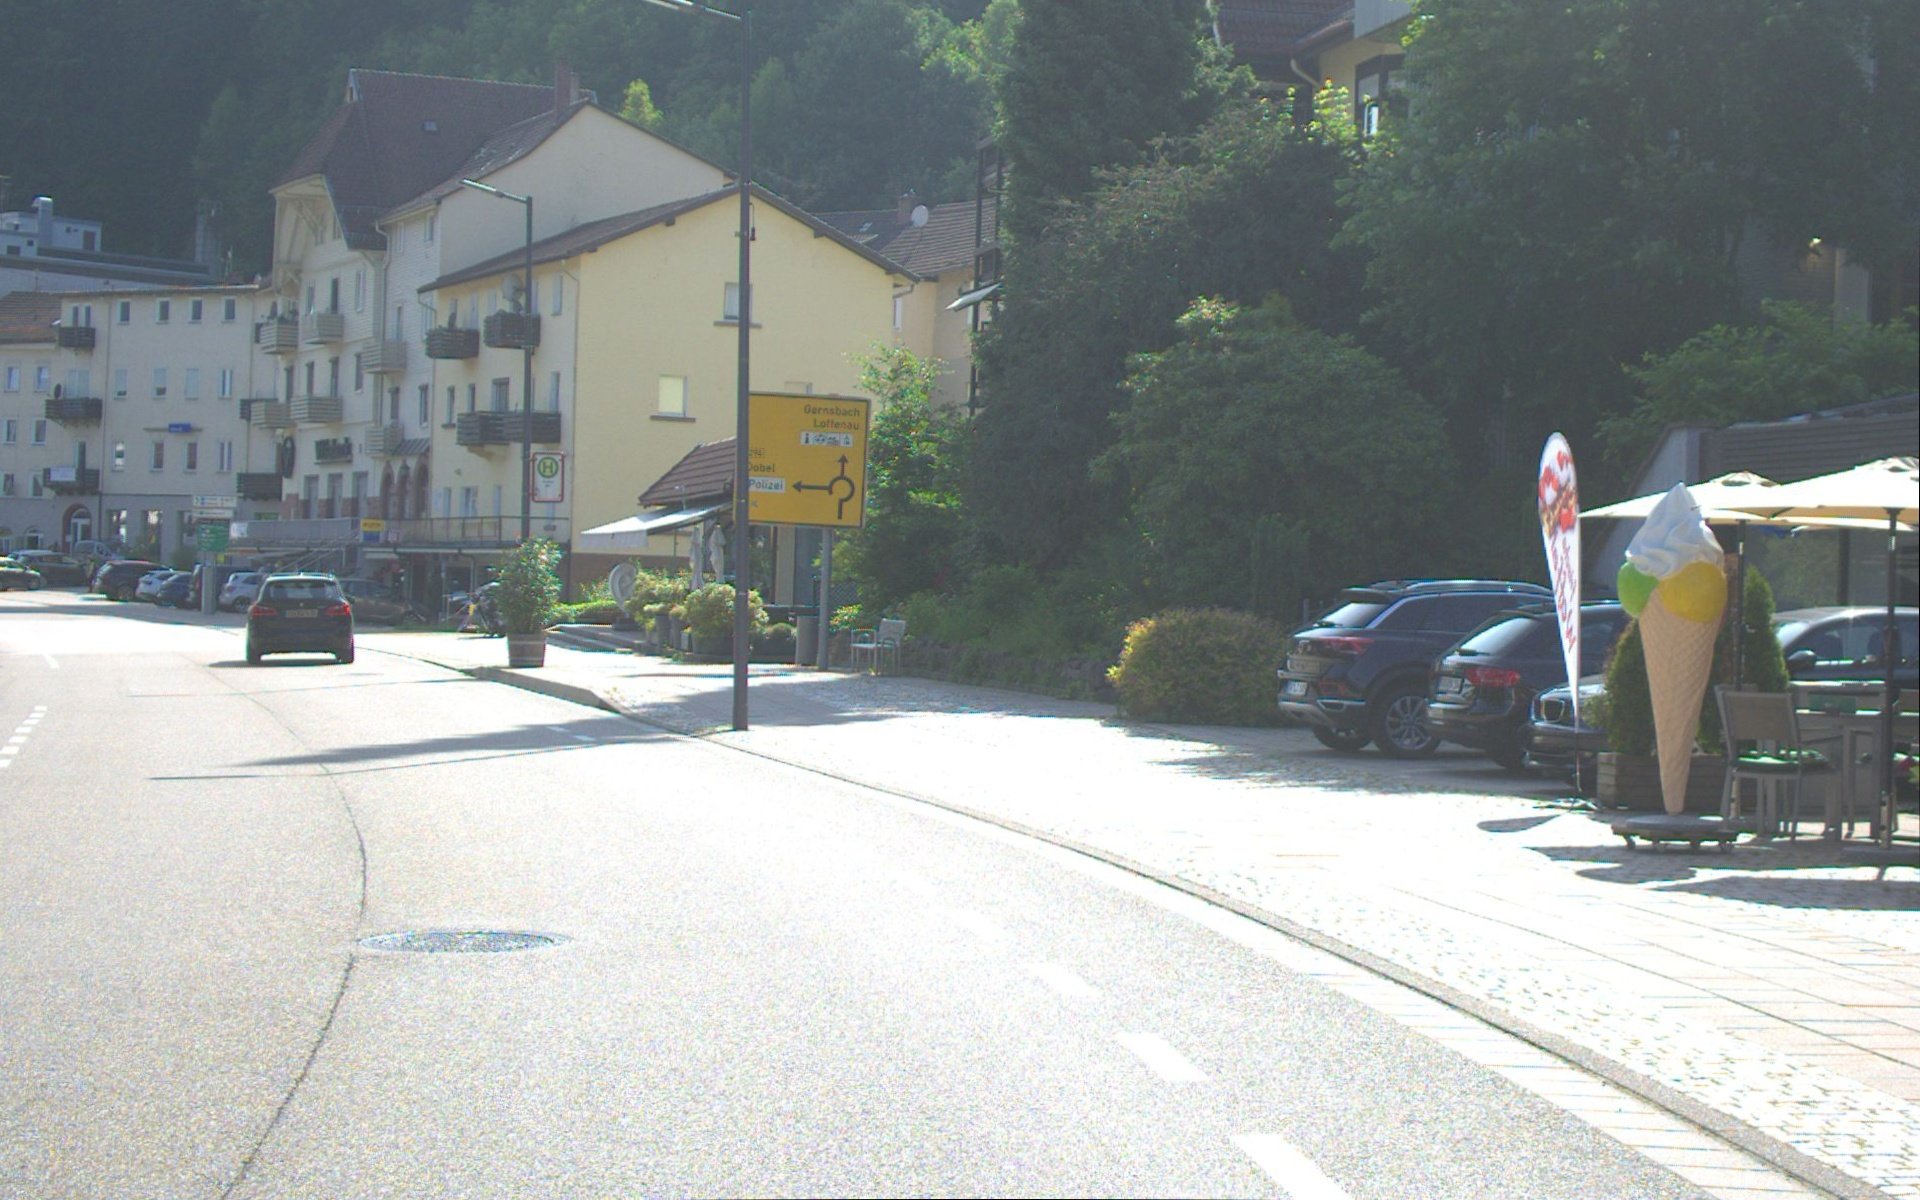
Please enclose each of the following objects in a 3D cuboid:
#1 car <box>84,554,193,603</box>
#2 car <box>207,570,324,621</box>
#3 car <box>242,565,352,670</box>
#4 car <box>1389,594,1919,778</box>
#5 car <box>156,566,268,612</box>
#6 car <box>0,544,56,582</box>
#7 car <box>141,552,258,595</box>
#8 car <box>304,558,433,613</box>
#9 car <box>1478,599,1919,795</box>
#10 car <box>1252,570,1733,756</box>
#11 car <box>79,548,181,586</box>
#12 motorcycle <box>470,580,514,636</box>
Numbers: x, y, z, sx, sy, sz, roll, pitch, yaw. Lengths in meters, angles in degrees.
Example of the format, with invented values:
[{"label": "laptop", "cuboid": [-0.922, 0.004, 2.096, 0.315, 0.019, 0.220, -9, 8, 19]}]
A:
[{"label": "car", "cuboid": [-34.340, -0.912, 143.764, 4.083, 1.660, 1.773, 5, -1, -22]}, {"label": "car", "cuboid": [-26.074, -0.185, 129.030, 3.908, 1.584, 1.775, 5, 0, -23]}, {"label": "car", "cuboid": [-11.513, 0.275, 59.633, 1.727, 1.569, 3.754, 3, 1, -12]}, {"label": "car", "cuboid": [5.780, 0.694, 28.225, 4.108, 1.410, 1.749, 1, 0, -11]}, {"label": "car", "cuboid": [-29.095, -0.435, 133.739, 3.908, 1.456, 1.736, 4, -1, -22]}, {"label": "car", "cuboid": [-41.978, -1.645, 150.929, 3.987, 1.656, 2.000, 0, 1, -33]}, {"label": "car", "cuboid": [-30.876, -1.084, 139.603, 4.355, 1.456, 1.773, 4, -2, -20]}, {"label": "car", "cuboid": [-19.994, -0.475, 116.196, 3.858, 1.549, 1.761, 5, -1, -25]}, {"label": "car", "cuboid": [6.189, 0.715, 25.583, 4.261, 1.374, 1.710, 1, 0, -11]}, {"label": "car", "cuboid": [4.757, 0.553, 30.914, 3.874, 1.574, 1.749, 1, 0, -11]}, {"label": "car", "cuboid": [-36.591, -1.458, 151.523, 4.012, 1.511, 1.772, -2, 4, -43]}, {"label": "motorcycle", "cuboid": [-11.279, 0.186, 82.756, 0.697, 1.292, 2.213, -1, 1, -17]}]
